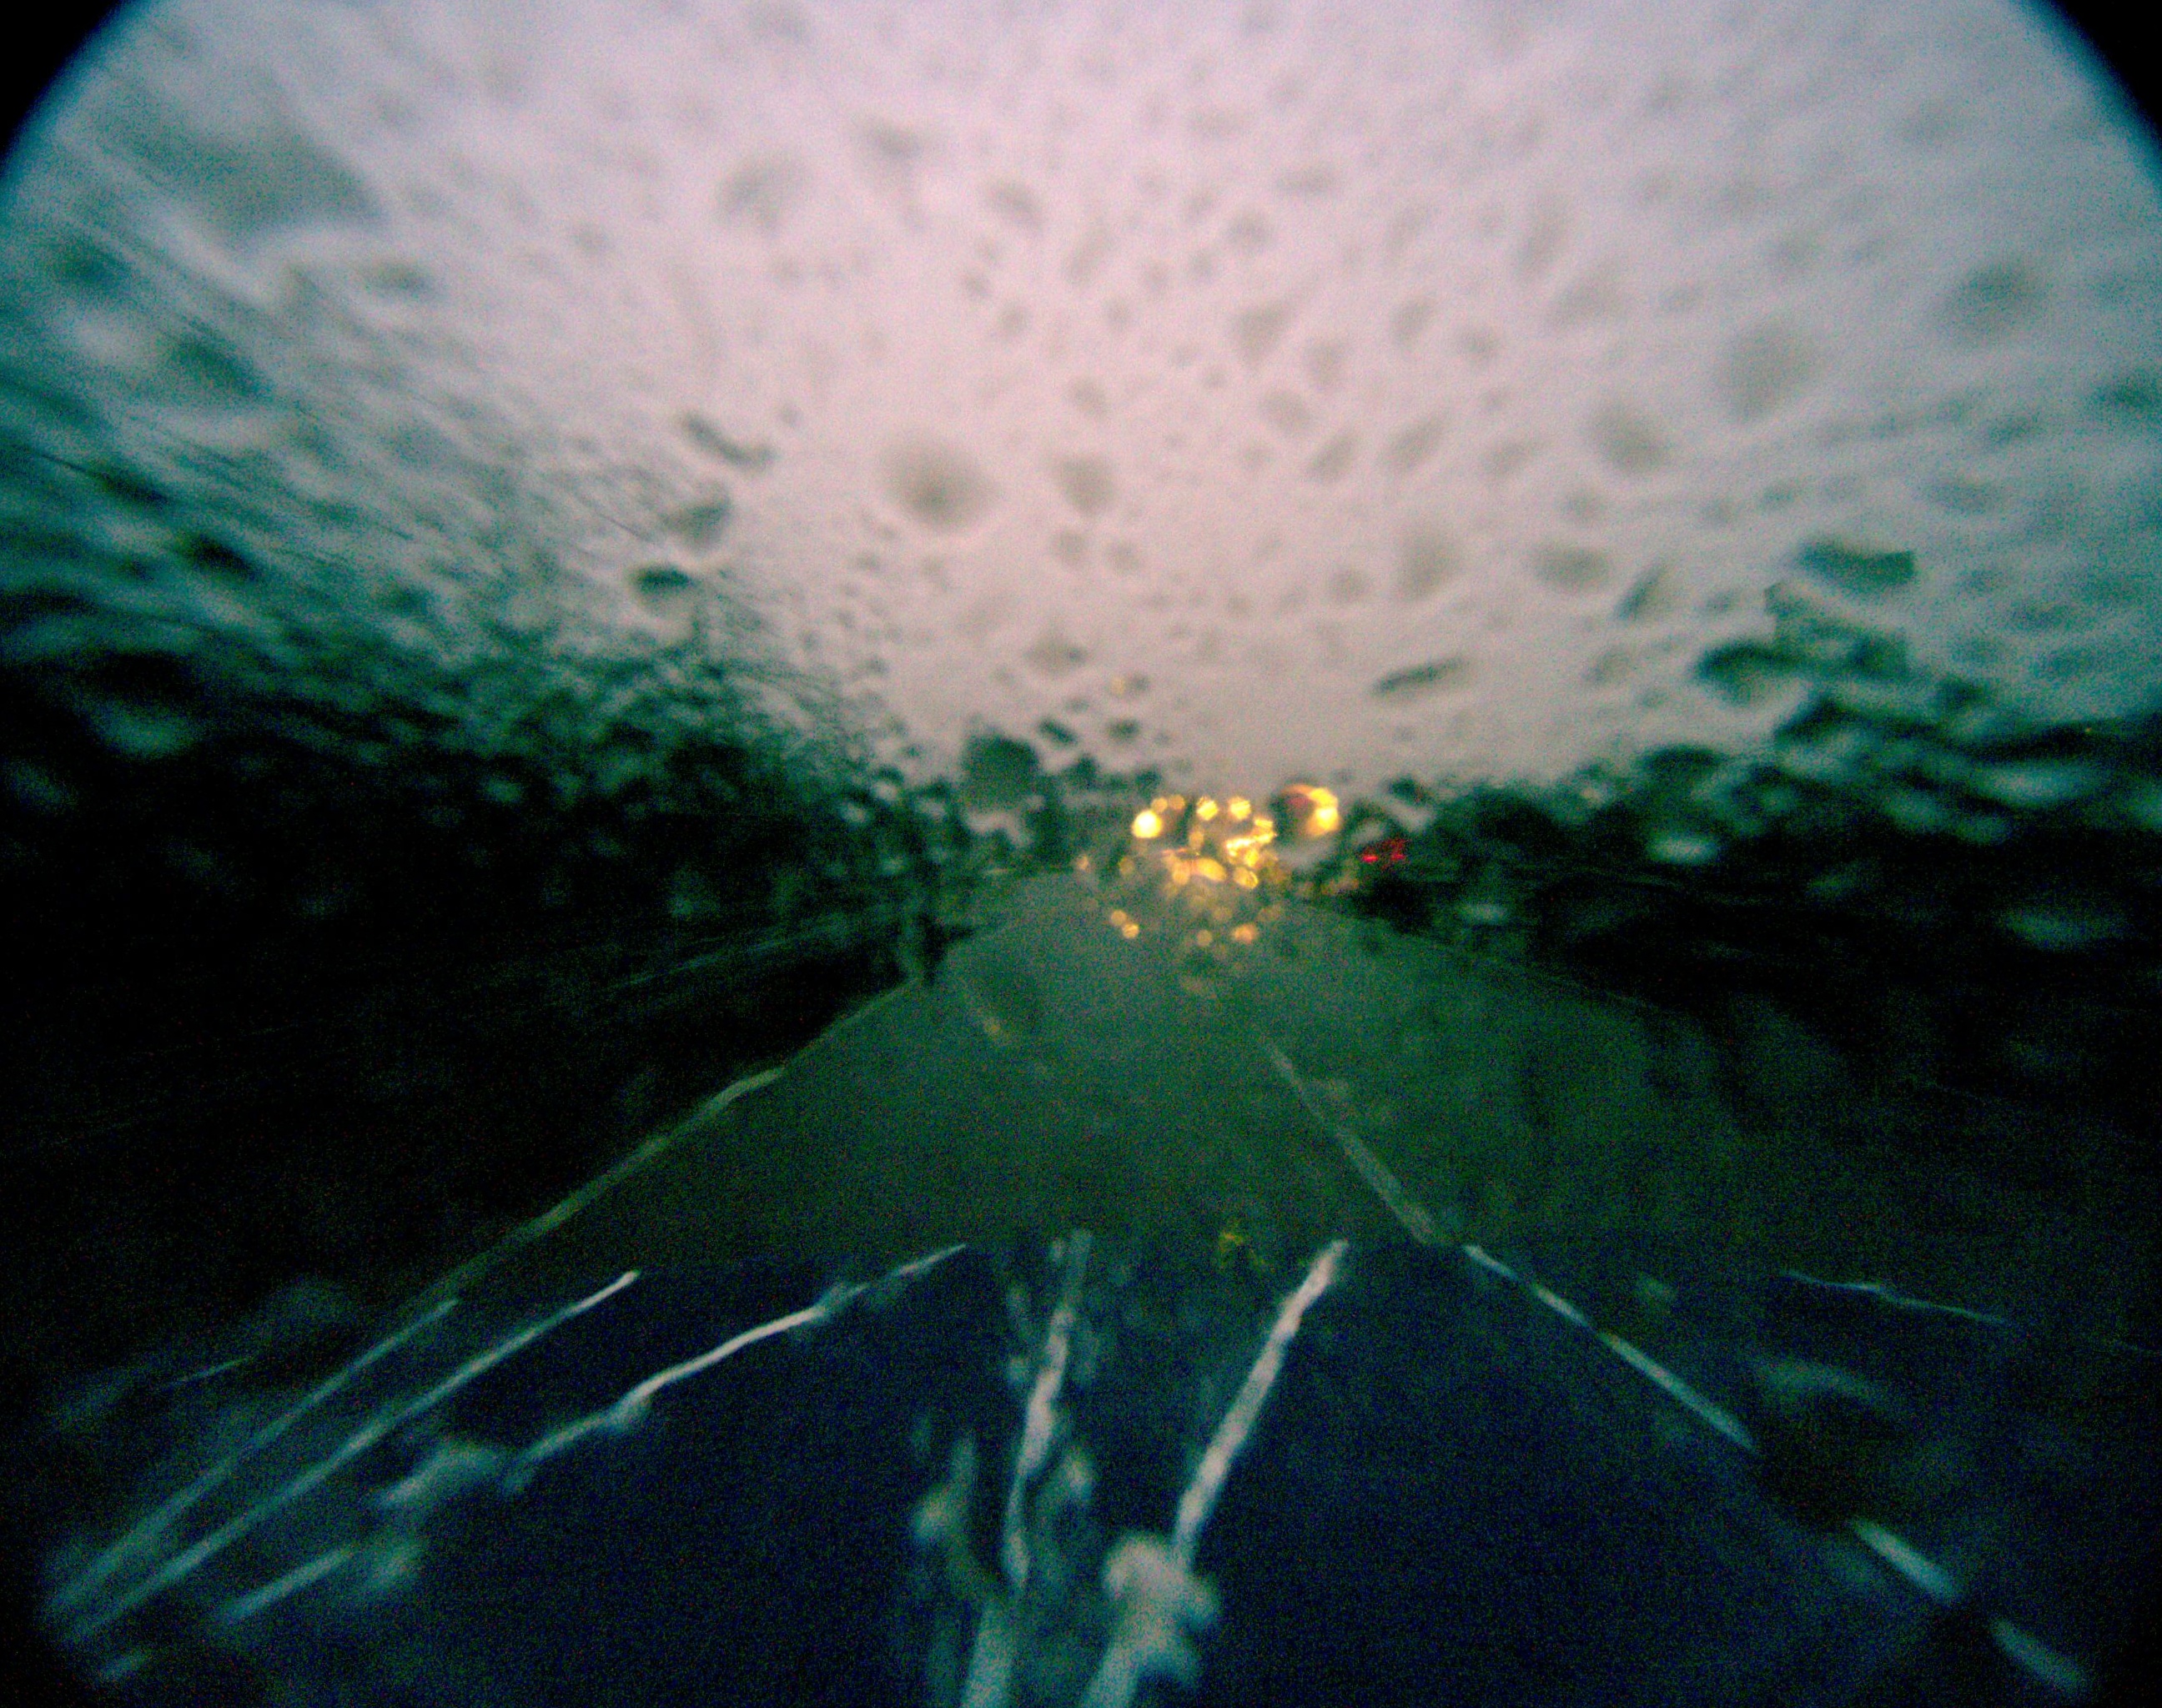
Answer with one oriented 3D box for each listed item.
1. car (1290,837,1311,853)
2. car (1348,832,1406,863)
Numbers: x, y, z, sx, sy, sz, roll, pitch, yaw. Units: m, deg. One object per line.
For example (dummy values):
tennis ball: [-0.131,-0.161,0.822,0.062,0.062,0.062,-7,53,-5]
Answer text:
car: [25.421,-1.055,88.066,1.797,1.674,4.691,-2,1,9]
car: [17.190,-0.374,44.309,1.997,1.663,4.430,-2,0,6]
